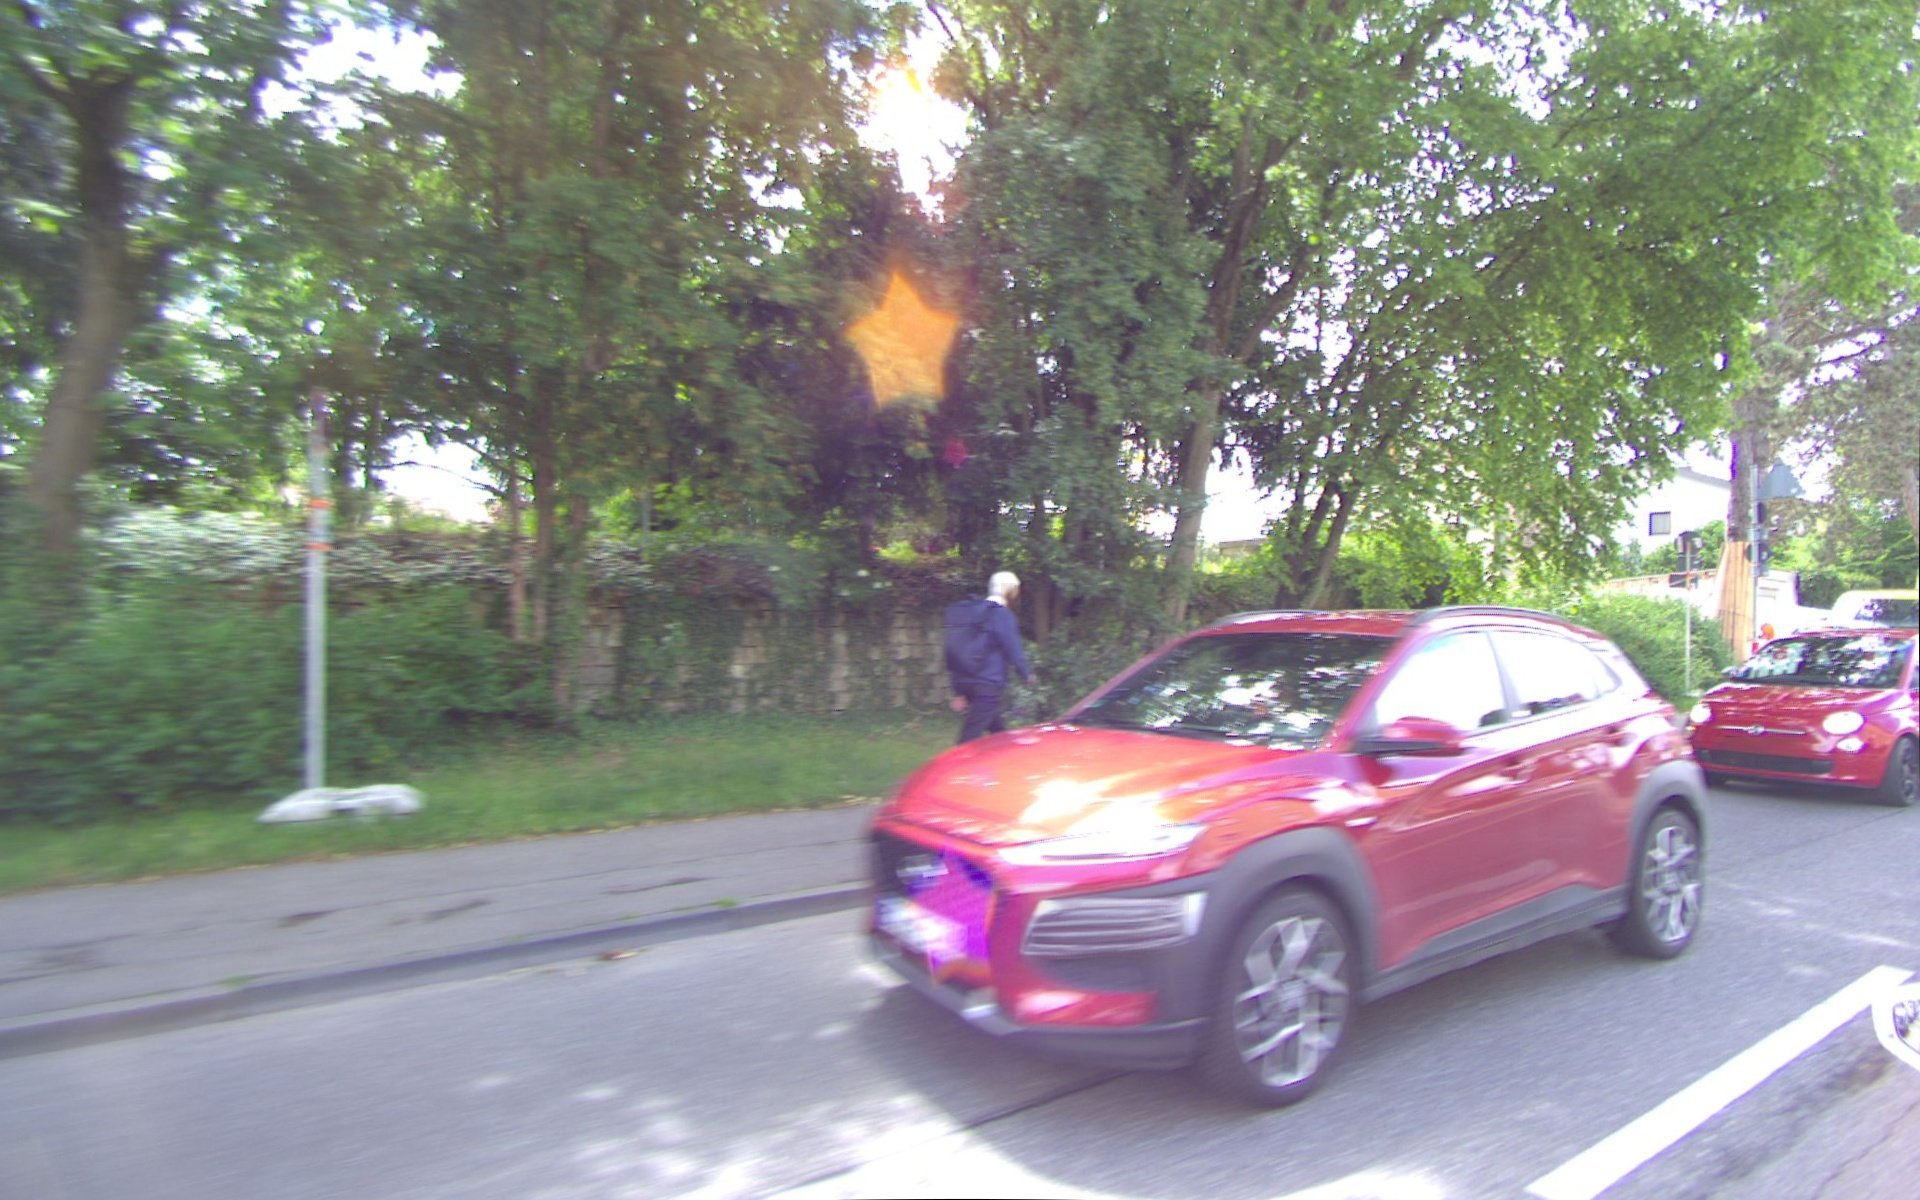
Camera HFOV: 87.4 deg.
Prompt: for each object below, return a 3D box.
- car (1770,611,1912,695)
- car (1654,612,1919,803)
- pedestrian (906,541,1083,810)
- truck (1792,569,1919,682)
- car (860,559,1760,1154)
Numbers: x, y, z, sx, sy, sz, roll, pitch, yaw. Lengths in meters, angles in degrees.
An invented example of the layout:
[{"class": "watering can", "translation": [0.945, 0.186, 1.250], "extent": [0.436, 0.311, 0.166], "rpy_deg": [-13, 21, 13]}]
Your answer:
[{"class": "car", "translation": [17.968, 1.016, 20.450], "extent": [3.553, 1.528, 1.610], "rpy_deg": [1, 0, -40]}, {"class": "car", "translation": [8.550, 0.911, 9.602], "extent": [3.521, 1.543, 1.610], "rpy_deg": [1, -2, -25]}, {"class": "pedestrian", "translation": [0.256, 0.534, 7.603], "extent": [1.010, 1.872, 0.829], "rpy_deg": [2, 0, -31]}, {"class": "truck", "translation": [22.780, 0.623, 24.387], "extent": [6.029, 2.452, 2.292], "rpy_deg": [2, 0, -34]}, {"class": "car", "translation": [1.709, 0.752, 4.511], "extent": [3.958, 1.576, 1.766], "rpy_deg": [1, -3, -33]}]
